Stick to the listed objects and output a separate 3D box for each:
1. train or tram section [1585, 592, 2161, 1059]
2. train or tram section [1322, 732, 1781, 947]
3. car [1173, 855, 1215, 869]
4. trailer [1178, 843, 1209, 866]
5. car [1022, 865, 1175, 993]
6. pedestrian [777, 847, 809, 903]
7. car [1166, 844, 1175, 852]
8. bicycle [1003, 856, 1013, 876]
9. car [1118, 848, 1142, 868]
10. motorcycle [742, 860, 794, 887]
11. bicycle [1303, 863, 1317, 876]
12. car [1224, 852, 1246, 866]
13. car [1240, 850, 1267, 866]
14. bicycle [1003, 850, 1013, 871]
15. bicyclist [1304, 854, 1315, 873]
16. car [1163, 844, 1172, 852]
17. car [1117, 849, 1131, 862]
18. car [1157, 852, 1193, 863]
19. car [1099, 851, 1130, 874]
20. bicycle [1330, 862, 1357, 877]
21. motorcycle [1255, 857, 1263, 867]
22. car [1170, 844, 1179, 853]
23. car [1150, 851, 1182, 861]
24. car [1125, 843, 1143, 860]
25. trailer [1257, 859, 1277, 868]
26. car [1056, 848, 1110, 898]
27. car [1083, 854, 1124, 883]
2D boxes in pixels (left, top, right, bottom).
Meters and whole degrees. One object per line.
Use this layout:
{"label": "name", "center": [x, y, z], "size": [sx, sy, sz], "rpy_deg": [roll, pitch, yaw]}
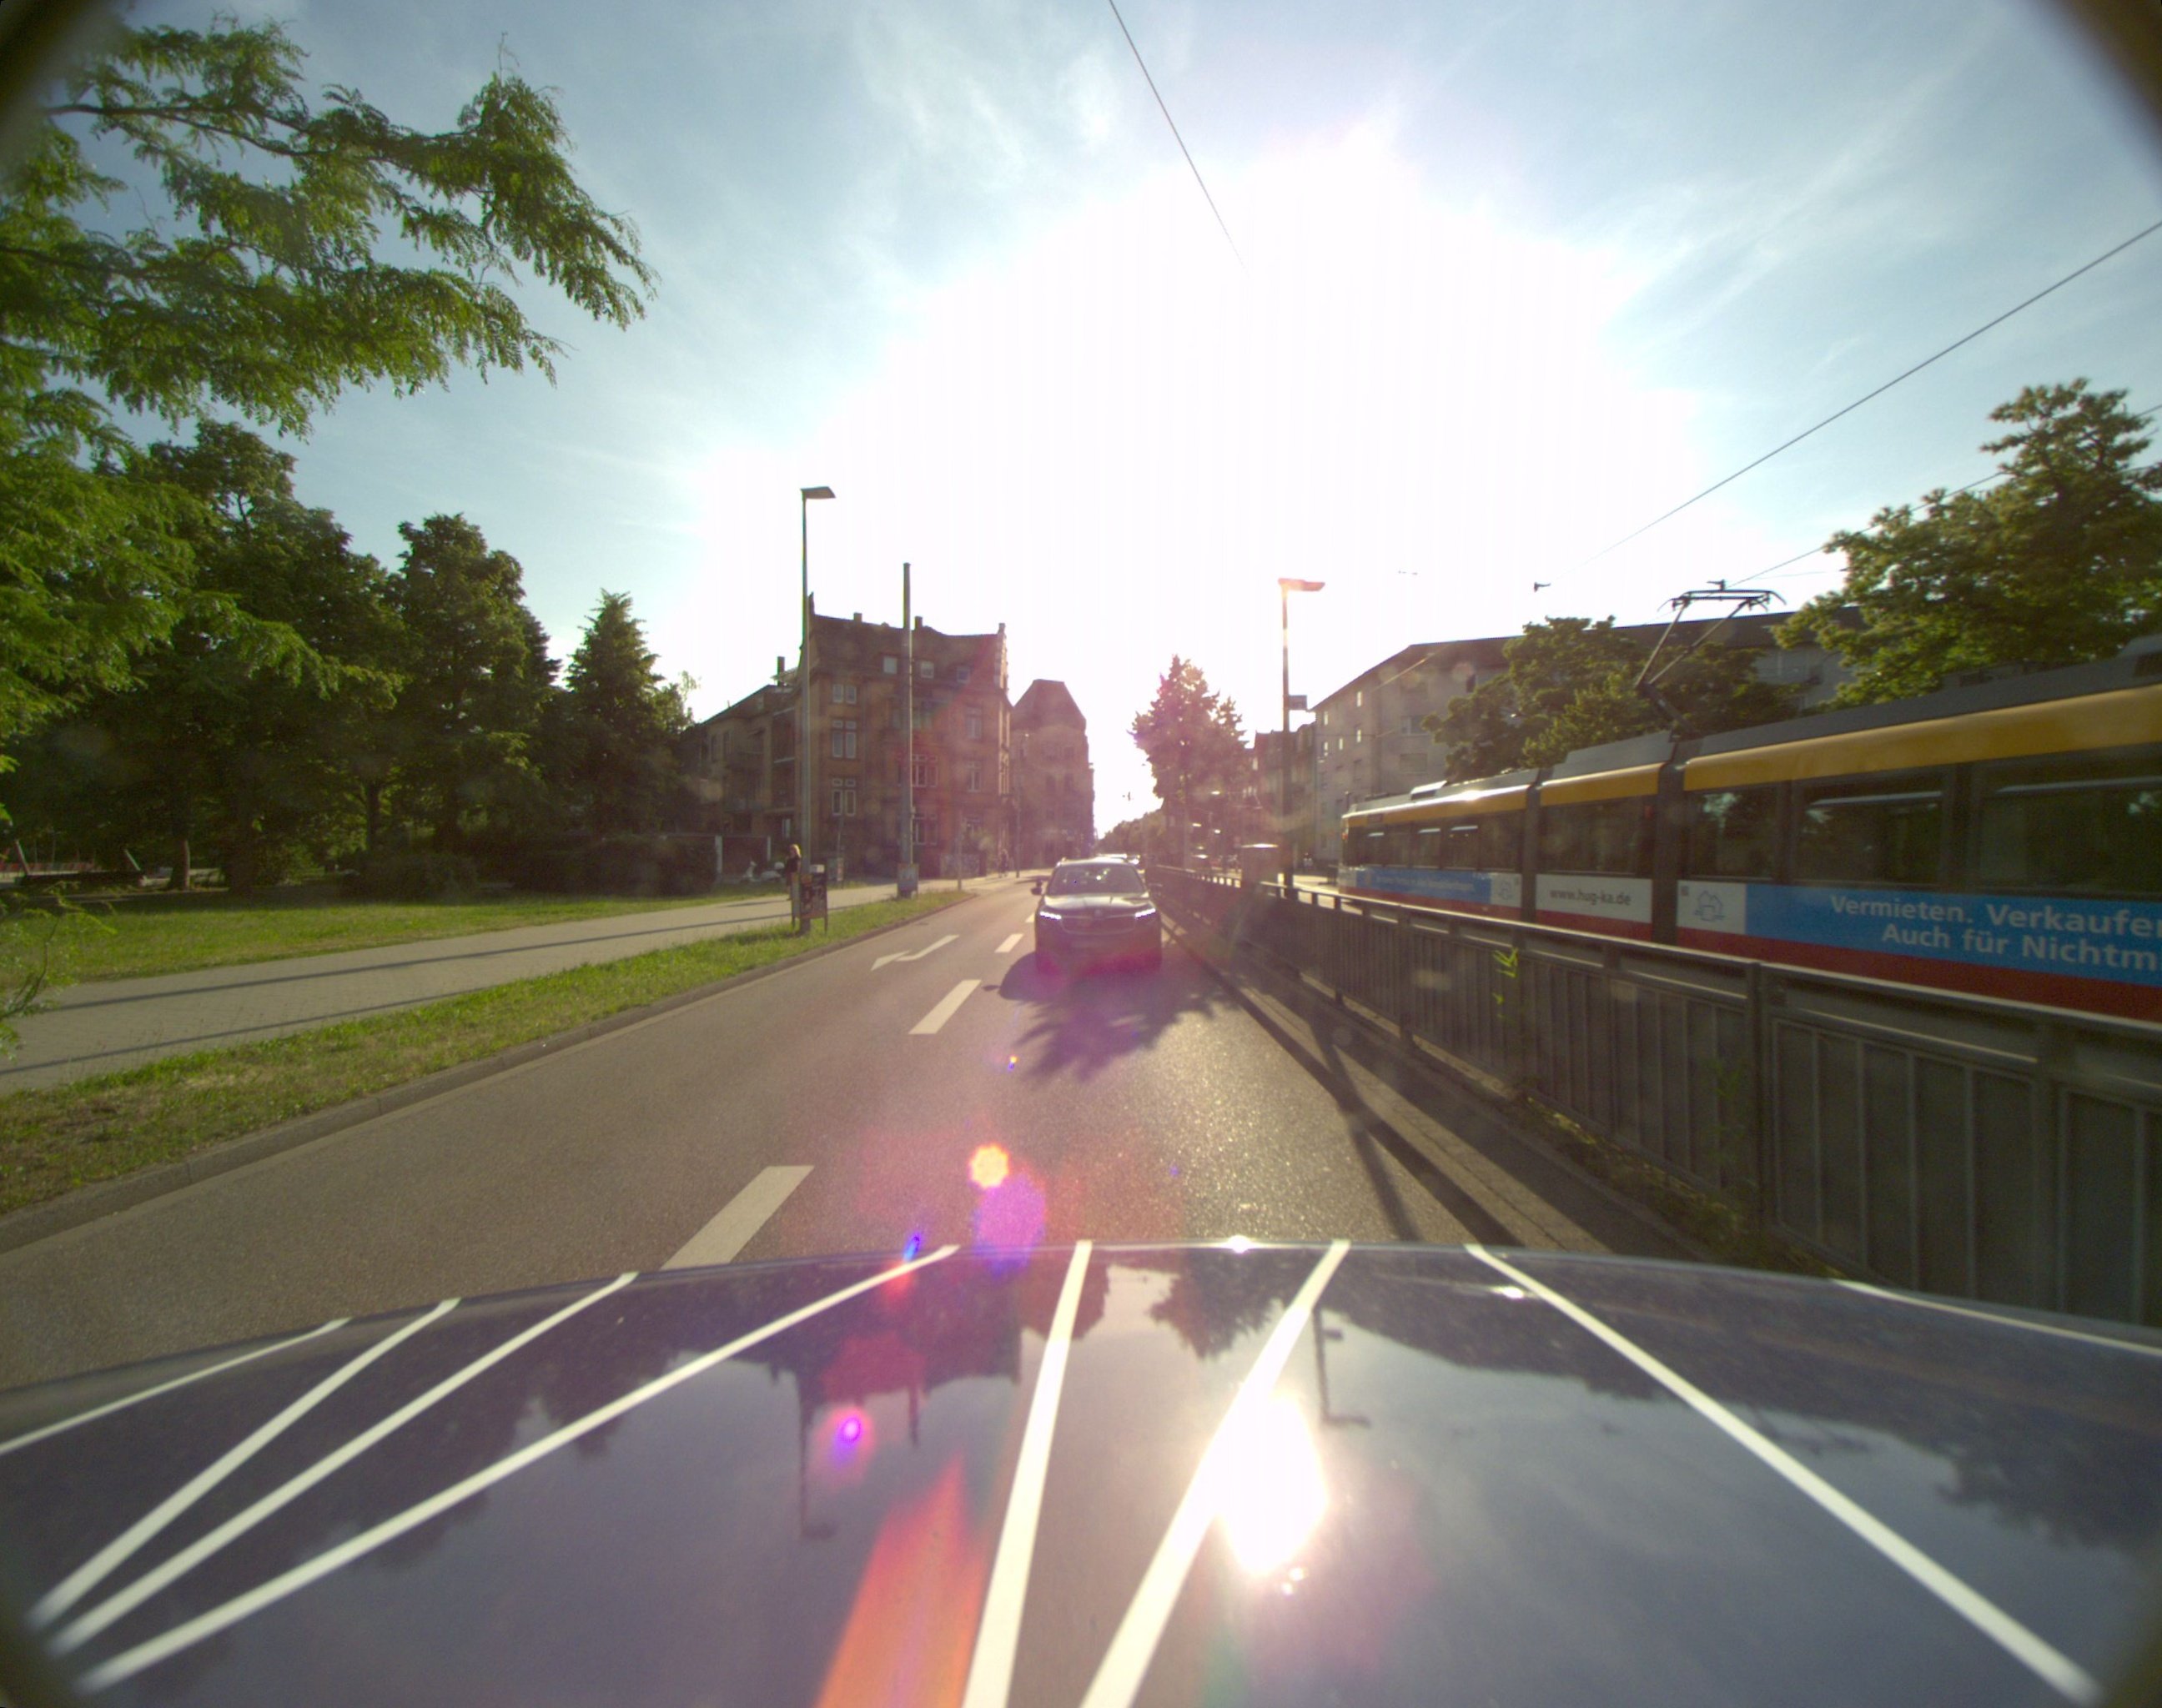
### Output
{"label": "train or tram section", "center": [9.577, -0.229, 5.056], "size": [3.169, 3.459, 14.473], "rpy_deg": [-1, 0, 2]}
{"label": "train or tram section", "center": [9.954, -0.232, 19.612], "size": [3.169, 3.459, 14.533], "rpy_deg": [-1, 0, 2]}
{"label": "car", "center": [11.544, 0.767, 77.891], "size": [3.941, 1.352, 1.676], "rpy_deg": [1, 1, 37]}
{"label": "trailer", "center": [11.986, 0.103, 80.974], "size": [2.858, 2.378, 1.726], "rpy_deg": [-1, 0, 33]}
{"label": "car", "center": [0.317, 0.923, 11.129], "size": [1.839, 1.472, 4.001], "rpy_deg": [0, 0, 3]}
{"label": "pedestrian", "center": [-8.872, 0.636, 23.412], "size": [0.616, 1.682, 0.549], "rpy_deg": [5, 1, 5]}
{"label": "car", "center": [23.024, -1.449, 195.564], "size": [1.998, 2.002, 4.001], "rpy_deg": [-1, 0, 5]}
{"label": "bicycle", "center": [-4.475, 0.731, 46.721], "size": [0.484, 1.183, 1.339], "rpy_deg": [-1, 0, -1]}
{"label": "car", "center": [4.598, 0.349, 71.121], "size": [1.998, 1.772, 4.000], "rpy_deg": [0, 0, 0]}
{"label": "motorcycle", "center": [-13.807, 0.872, 33.546], "size": [2.002, 1.153, 0.708], "rpy_deg": [-1, 0, -4]}
{"label": "bicycle", "center": [17.755, 1.191, 58.903], "size": [0.543, 1.012, 2.251], "rpy_deg": [-1, 0, 4]}
{"label": "car", "center": [19.946, 0.634, 98.429], "size": [2.170, 1.740, 4.611], "rpy_deg": [-1, 0, 3]}
{"label": "car", "center": [19.611, 0.411, 86.611], "size": [2.170, 1.740, 4.719], "rpy_deg": [-1, 0, 3]}
{"label": "bicycle", "center": [-4.478, 0.383, 46.672], "size": [0.575, 1.290, 0.688], "rpy_deg": [-1, 0, -2]}
{"label": "bicyclist", "center": [17.706, 0.732, 58.947], "size": [0.652, 1.405, 0.717], "rpy_deg": [-1, 0, 4]}
{"label": "car", "center": [23.565, -1.567, 207.942], "size": [1.998, 2.002, 4.000], "rpy_deg": [-1, 0, 1]}
{"label": "car", "center": [6.673, 0.277, 118.432], "size": [1.998, 2.002, 4.000], "rpy_deg": [0, 1, 1]}
{"label": "car", "center": [12.209, 0.431, 98.972], "size": [4.294, 1.414, 1.963], "rpy_deg": [-1, 0, 43]}
{"label": "car", "center": [2.467, 0.613, 55.106], "size": [1.997, 1.565, 4.002], "rpy_deg": [-1, 0, 6]}
{"label": "bicycle", "center": [19.746, 1.139, 57.197], "size": [1.912, 1.104, 0.736], "rpy_deg": [0, 1, 22]}
{"label": "motorcycle", "center": [19.353, 0.821, 82.619], "size": [0.636, 1.074, 1.735], "rpy_deg": [-1, 0, 7]}
{"label": "car", "center": [22.710, -1.370, 184.172], "size": [1.998, 2.002, 4.001], "rpy_deg": [-1, 0, 5]}
{"label": "car", "center": [12.684, 0.297, 113.210], "size": [4.259, 1.414, 2.177], "rpy_deg": [-1, 0, 43]}
{"label": "car", "center": [6.610, -0.308, 94.987], "size": [1.998, 2.002, 4.000], "rpy_deg": [0, 1, 1]}
{"label": "trailer", "center": [19.610, 0.983, 80.080], "size": [1.444, 0.891, 2.880], "rpy_deg": [-1, 0, 2]}
{"label": "car", "center": [0.111, 0.704, 30.191], "size": [1.998, 1.827, 4.000], "rpy_deg": [-1, 0, 1]}
{"label": "car", "center": [1.314, 0.785, 43.050], "size": [1.997, 1.565, 4.002], "rpy_deg": [-1, 0, 6]}
